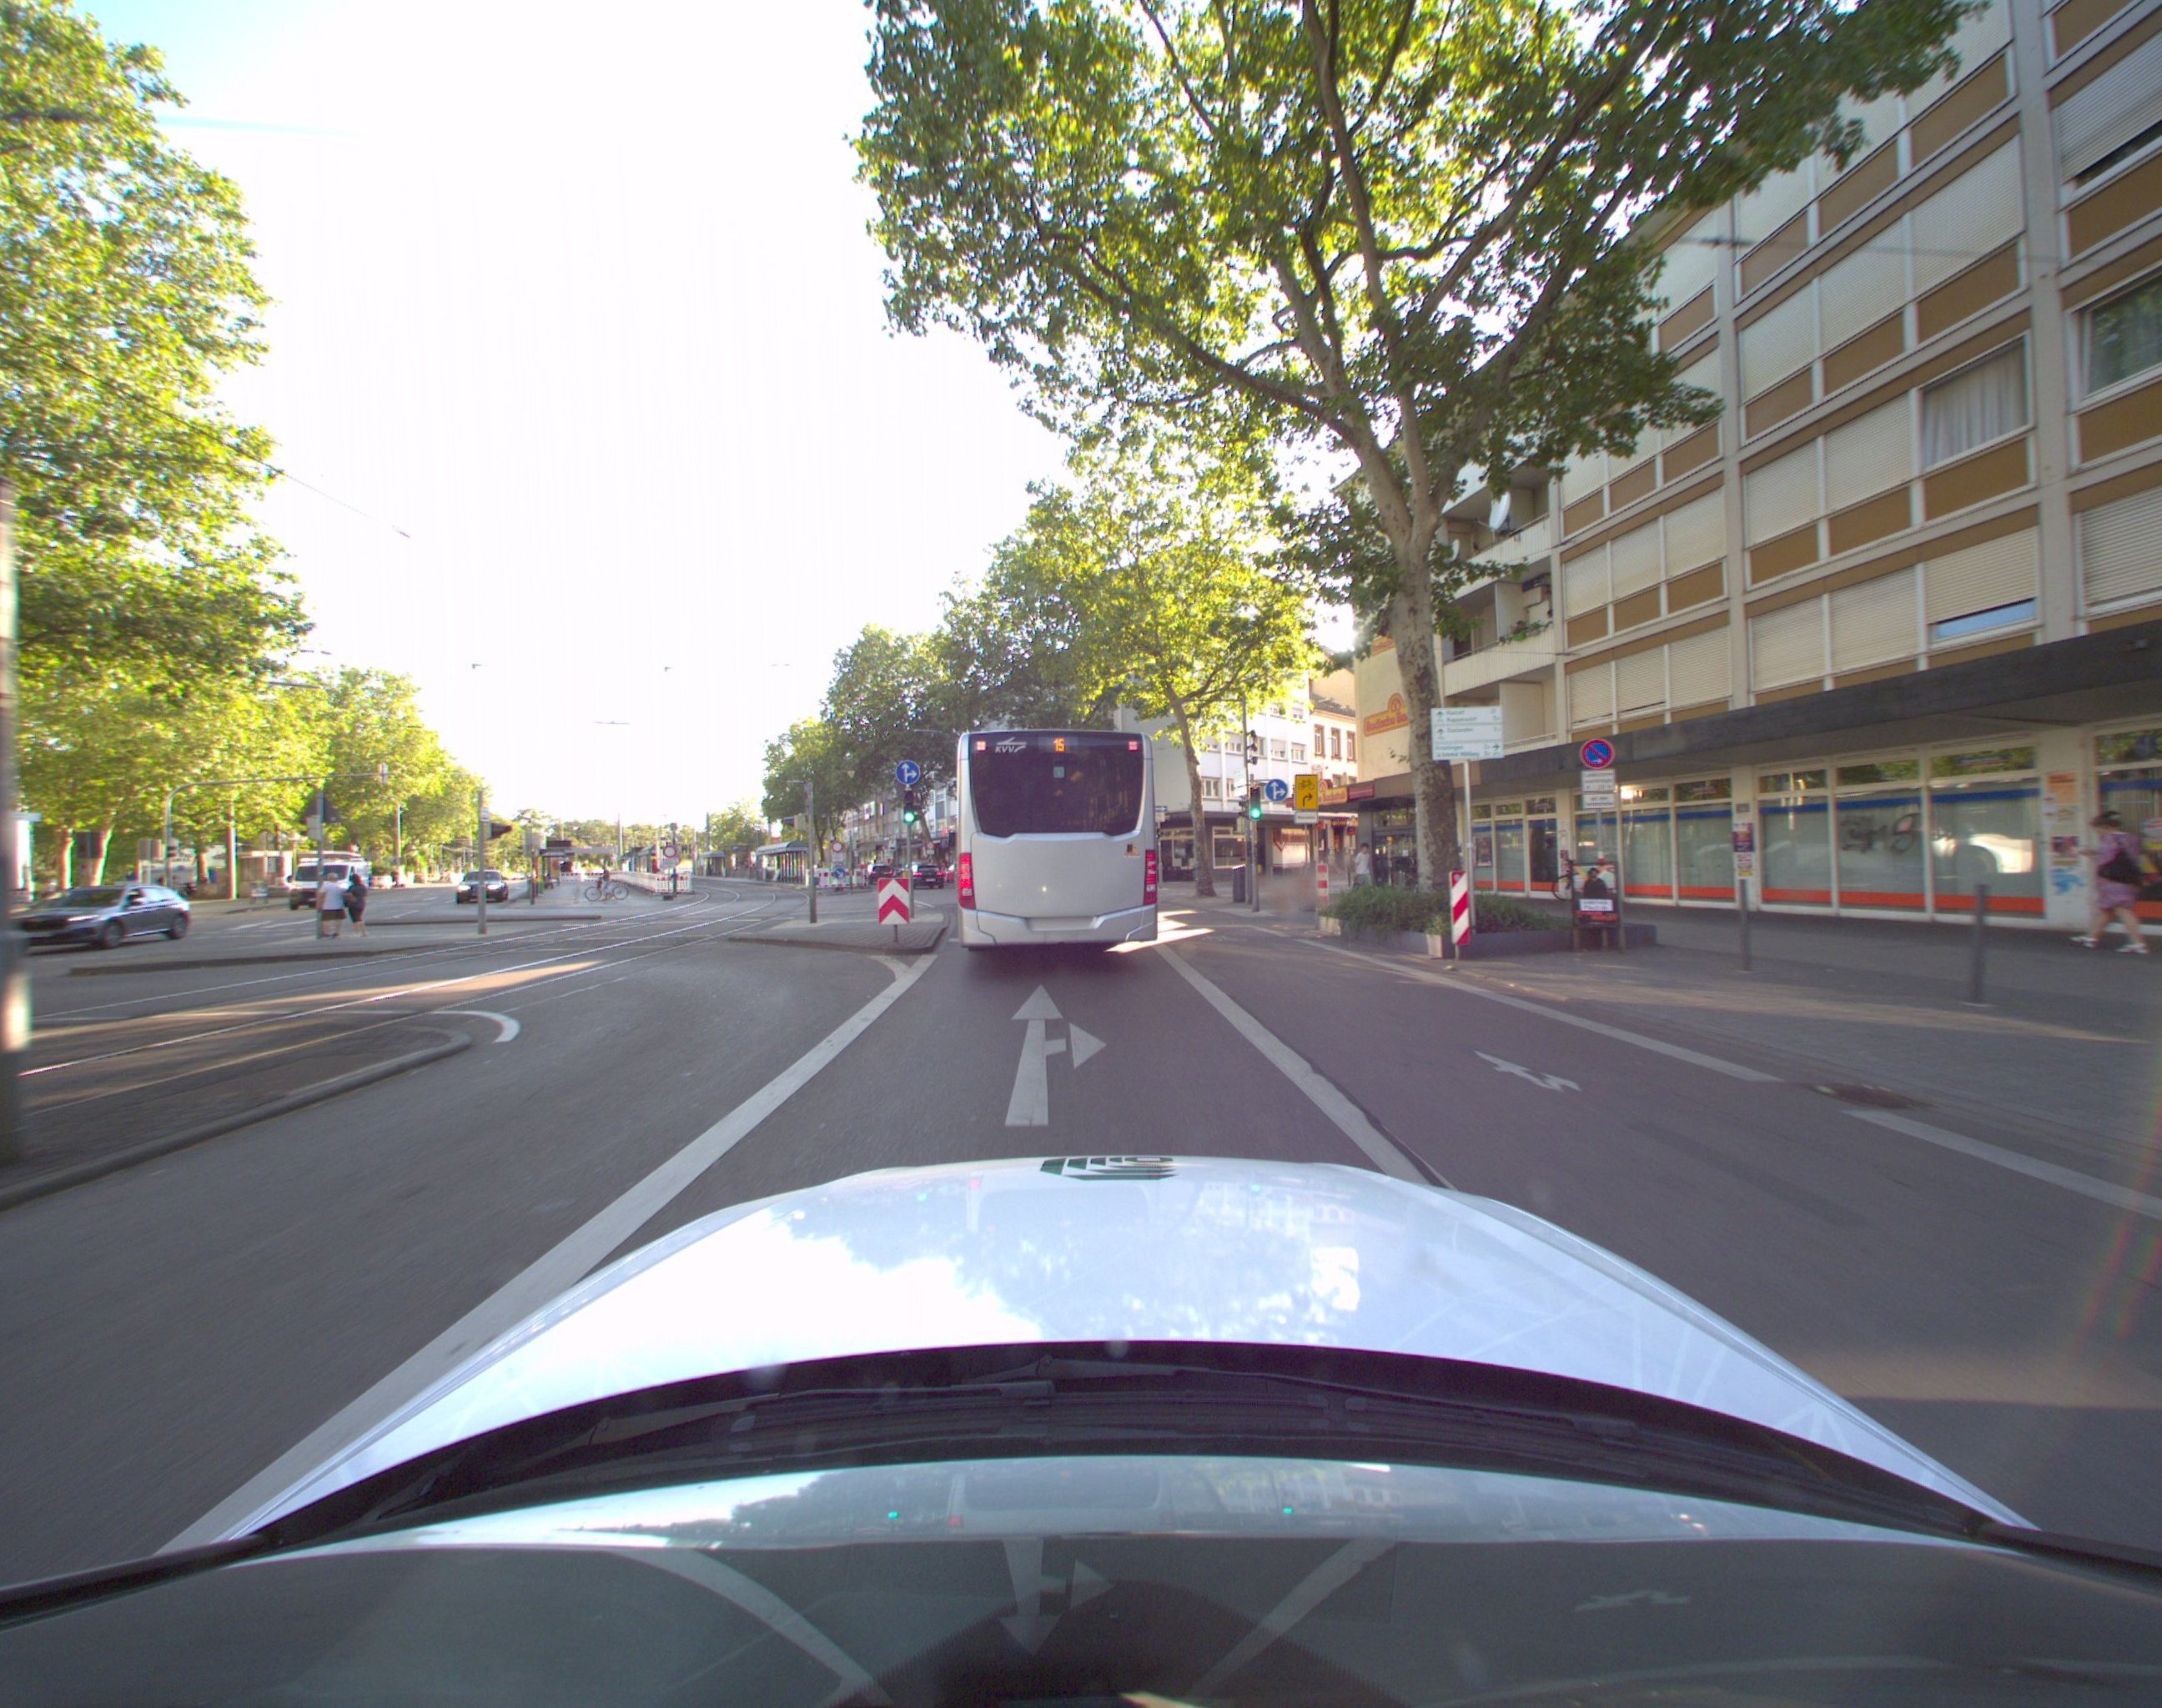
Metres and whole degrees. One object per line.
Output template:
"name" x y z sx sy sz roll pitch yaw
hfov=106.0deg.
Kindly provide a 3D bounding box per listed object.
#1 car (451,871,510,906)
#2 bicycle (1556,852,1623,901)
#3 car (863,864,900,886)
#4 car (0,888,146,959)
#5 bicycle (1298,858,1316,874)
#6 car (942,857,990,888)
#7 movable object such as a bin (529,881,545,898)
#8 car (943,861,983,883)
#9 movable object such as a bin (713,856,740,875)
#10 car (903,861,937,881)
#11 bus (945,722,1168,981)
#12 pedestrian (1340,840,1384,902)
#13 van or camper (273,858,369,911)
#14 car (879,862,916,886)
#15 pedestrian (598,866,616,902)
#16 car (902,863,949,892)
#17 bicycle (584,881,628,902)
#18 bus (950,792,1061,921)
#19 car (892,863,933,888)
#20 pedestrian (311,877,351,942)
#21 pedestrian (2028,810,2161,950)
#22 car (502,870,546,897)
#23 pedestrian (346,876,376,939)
"car" -30.370 1.706 41.284 1.898 1.585 4.167 -1 -1 -30
"bicycle" 12.256 0.527 19.670 0.437 1.092 1.456 -4 0 -11
"car" -14.404 1.513 58.674 1.765 1.464 3.966 -1 0 -25
"car" -24.925 1.648 20.290 4.154 1.472 1.903 -2 -1 44
"bicycle" 14.892 0.780 53.714 0.291 1.040 1.728 -5 -3 44
"car" -6.619 1.035 46.495 1.768 1.628 3.582 -1 -1 -24
"movable object such as a bin" -29.623 1.931 44.361 0.675 0.866 0.696 0 0 -29
"car" -8.549 1.280 58.685 1.673 1.394 3.380 -5 2 -30
"movable object such as a bin" -48.400 1.622 111.137 2.512 2.477 5.299 -1 0 -33
"car" -13.174 1.385 66.548 1.672 1.468 3.380 -5 2 -29
"bus" -1.000 0.008 14.972 2.657 3.099 10.185 -1 -1 -8
"pedestrian" 8.215 0.490 23.841 0.837 1.712 0.789 -4 1 -16
"van or camper" -36.214 1.420 38.976 2.180 2.319 5.055 -1 -1 -29
"car" -12.299 1.315 54.440 1.763 1.464 3.969 -1 0 -23
"pedestrian" -23.372 1.456 40.128 0.725 1.725 0.395 -1 -1 -33
"car" -8.767 1.297 45.707 1.763 1.464 3.969 -1 0 -23
"bicycle" -23.602 1.869 40.507 1.853 0.942 0.459 -2 -1 -33
"bus" -2.577 0.123 25.094 2.657 3.099 10.185 -1 -1 -8
"car" -10.392 1.304 50.039 1.763 1.464 3.969 -1 0 -23
"pedestrian" -17.865 1.314 19.414 0.523 1.504 0.588 -1 -1 -25
"pedestrian" 11.992 0.297 9.601 0.638 1.552 0.806 -3 -1 -5
"car" -34.969 1.834 51.252 1.898 1.531 4.167 -1 0 -30
"pedestrian" -17.624 1.291 19.945 0.410 1.504 0.513 -1 -1 -25
